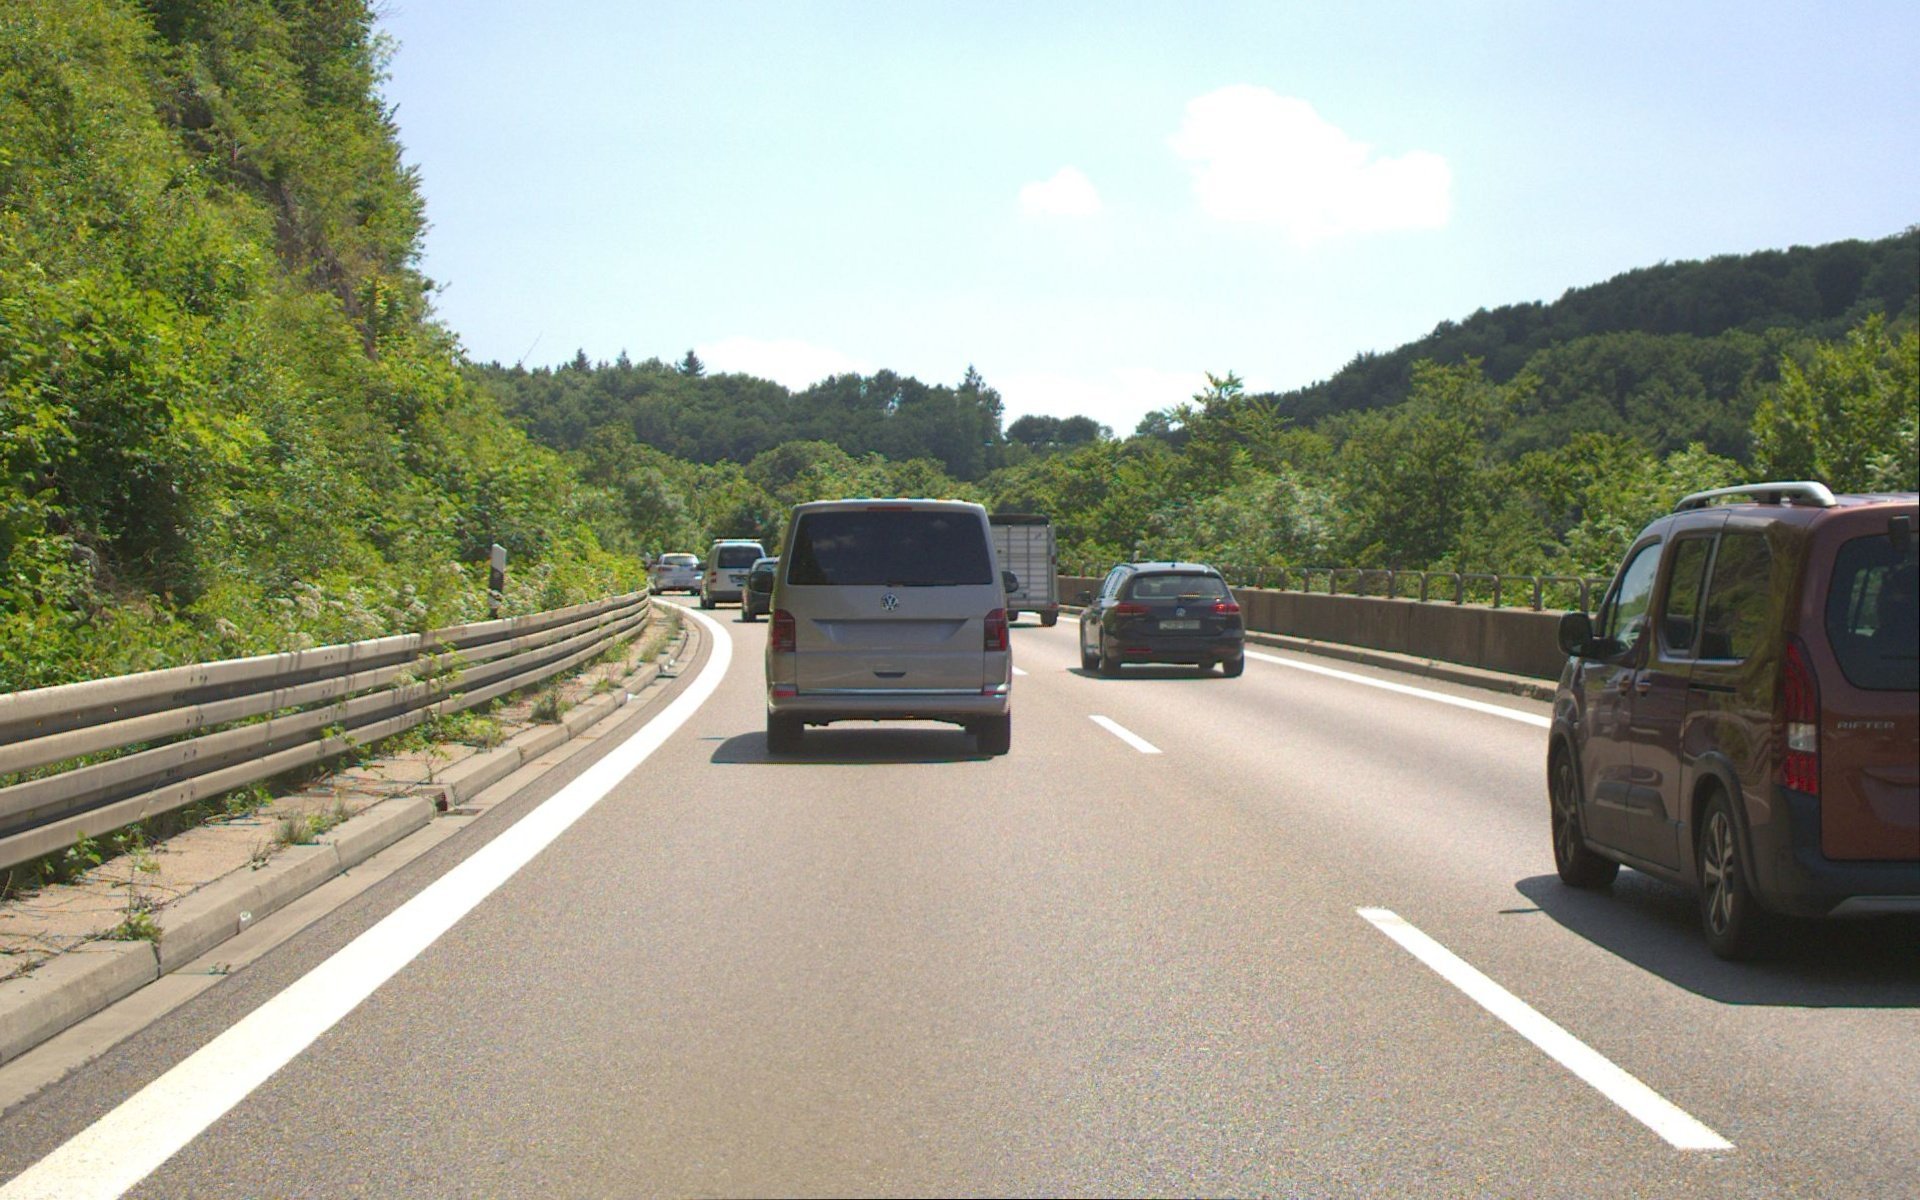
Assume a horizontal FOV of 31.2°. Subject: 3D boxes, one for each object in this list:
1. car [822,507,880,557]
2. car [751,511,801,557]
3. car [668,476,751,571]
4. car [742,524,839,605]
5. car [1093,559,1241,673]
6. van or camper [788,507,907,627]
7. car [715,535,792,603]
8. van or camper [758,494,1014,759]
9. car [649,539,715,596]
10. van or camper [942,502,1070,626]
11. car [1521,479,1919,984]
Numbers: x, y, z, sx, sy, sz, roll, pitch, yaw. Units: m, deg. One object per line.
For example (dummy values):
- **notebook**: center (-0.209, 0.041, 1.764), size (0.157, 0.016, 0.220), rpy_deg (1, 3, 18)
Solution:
- **car**: center (-4.482, -2.784, 140.791), size (1.993, 2.007, 4.001), rpy_deg (0, 1, -7)
- **car**: center (-8.223, -2.949, 153.399), size (1.993, 2.007, 4.001), rpy_deg (0, 1, -6)
- **car**: center (-13.338, -4.035, 182.401), size (4.042, 4.855, 10.111), rpy_deg (1, 1, -6)
- **car**: center (-3.948, -0.830, 79.428), size (1.993, 1.811, 4.001), rpy_deg (0, 1, -6)
- **car**: center (2.638, 0.177, 44.433), size (1.768, 1.371, 3.592), rpy_deg (1, 1, 2)
- **van or camper**: center (-3.769, -1.105, 113.168), size (3.275, 3.776, 8.113), rpy_deg (1, 1, -6)
- **car**: center (-5.697, -0.869, 95.202), size (1.993, 1.811, 4.000), rpy_deg (0, 1, -1)
- **van or camper**: center (-0.618, 0.170, 27.587), size (1.875, 1.943, 4.294), rpy_deg (0, 1, -2)
- **car**: center (-9.508, -1.119, 117.410), size (1.993, 1.908, 4.001), rpy_deg (0, 1, -8)
- **van or camper**: center (0.952, -0.769, 73.815), size (2.263, 2.542, 4.737), rpy_deg (-1, 1, -5)
- **car**: center (3.681, 0.448, 14.448), size (1.833, 1.778, 4.676), rpy_deg (0, 0, 0)
